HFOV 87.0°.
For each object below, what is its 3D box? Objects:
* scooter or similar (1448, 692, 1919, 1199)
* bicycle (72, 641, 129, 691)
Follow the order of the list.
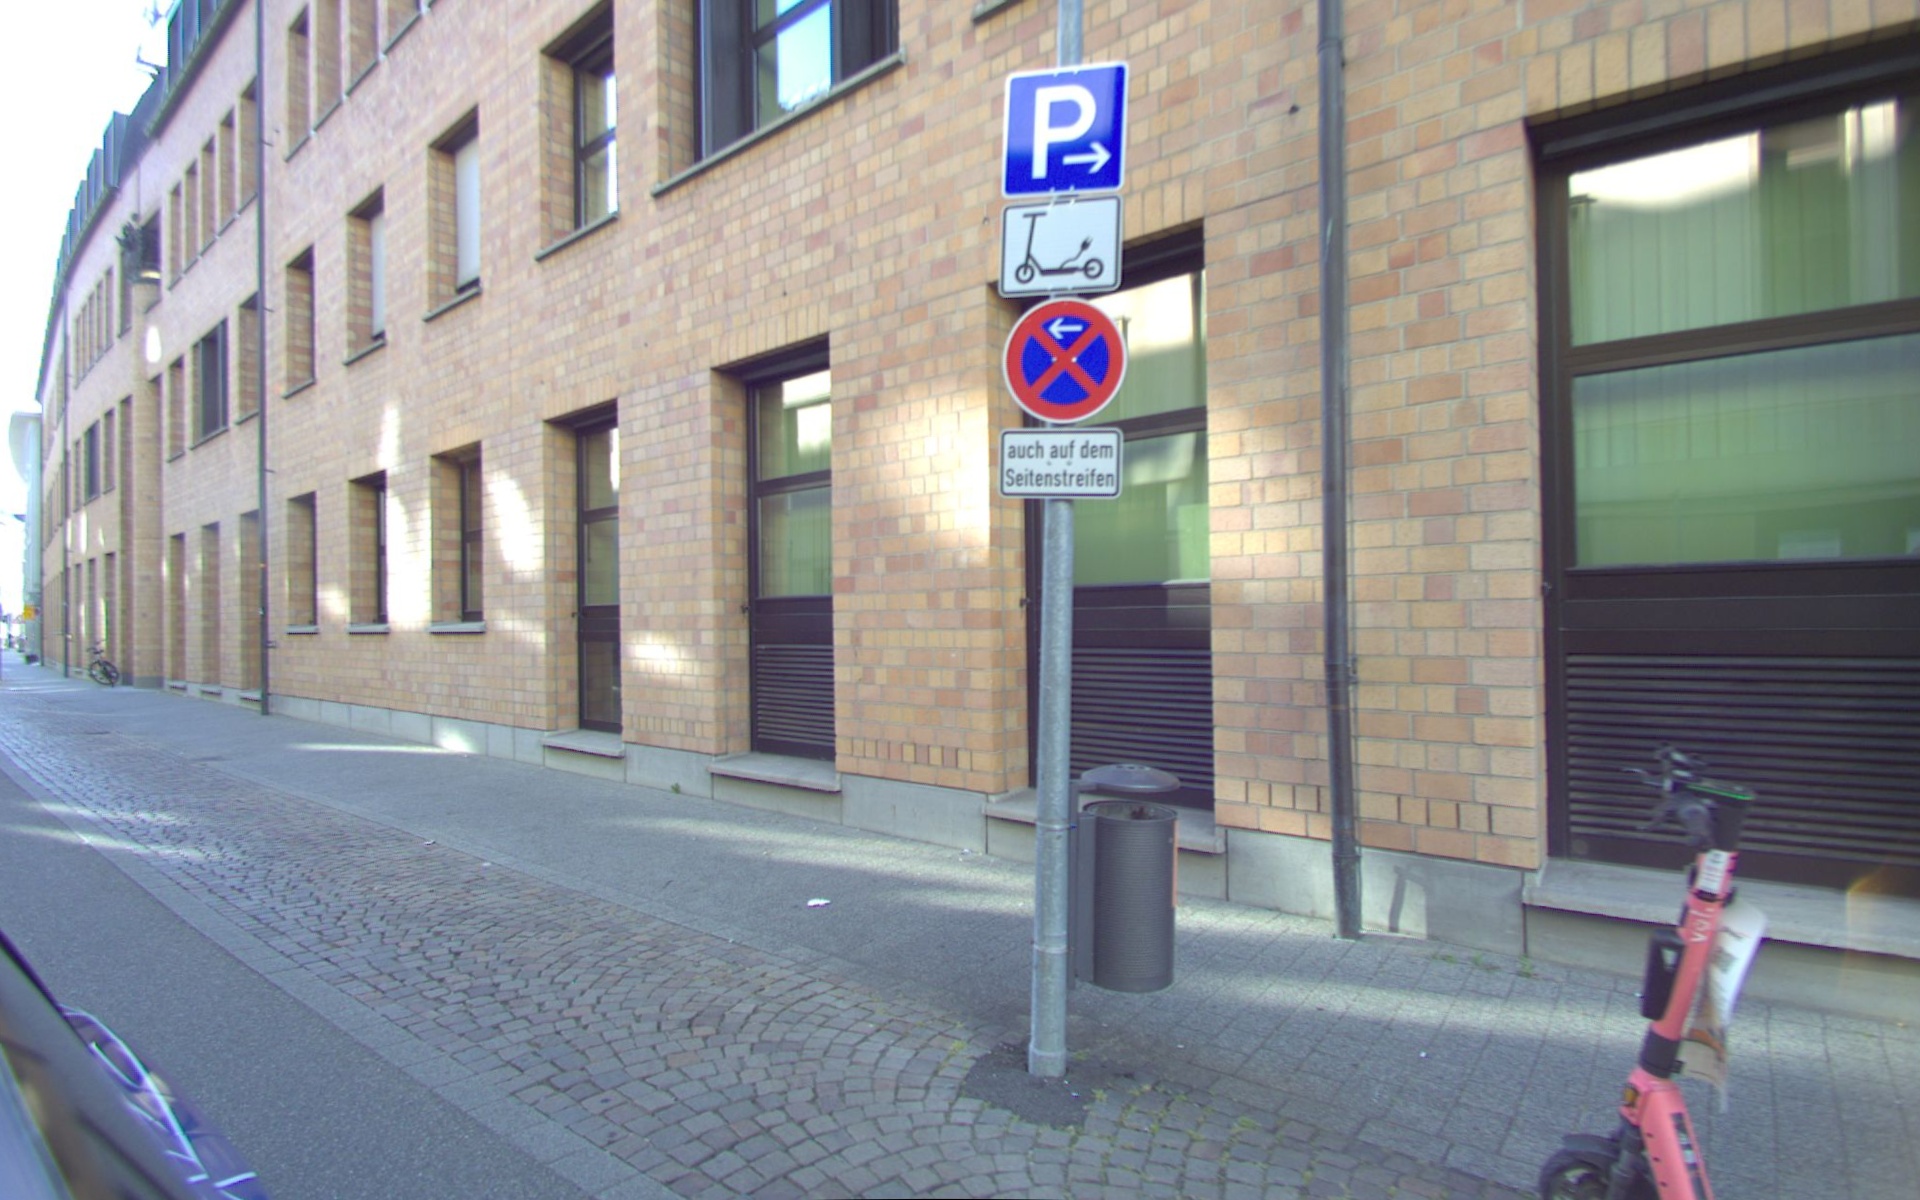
[{"bbox_3d":[1.738,0.834,1.872,0.688,1.227,1.361,0,-2,-23],"label":"scooter or similar"},{"bbox_3d":[-21.608,1.654,25.440,1.800,1.171,0.626,-3,1,36],"label":"bicycle"}]
